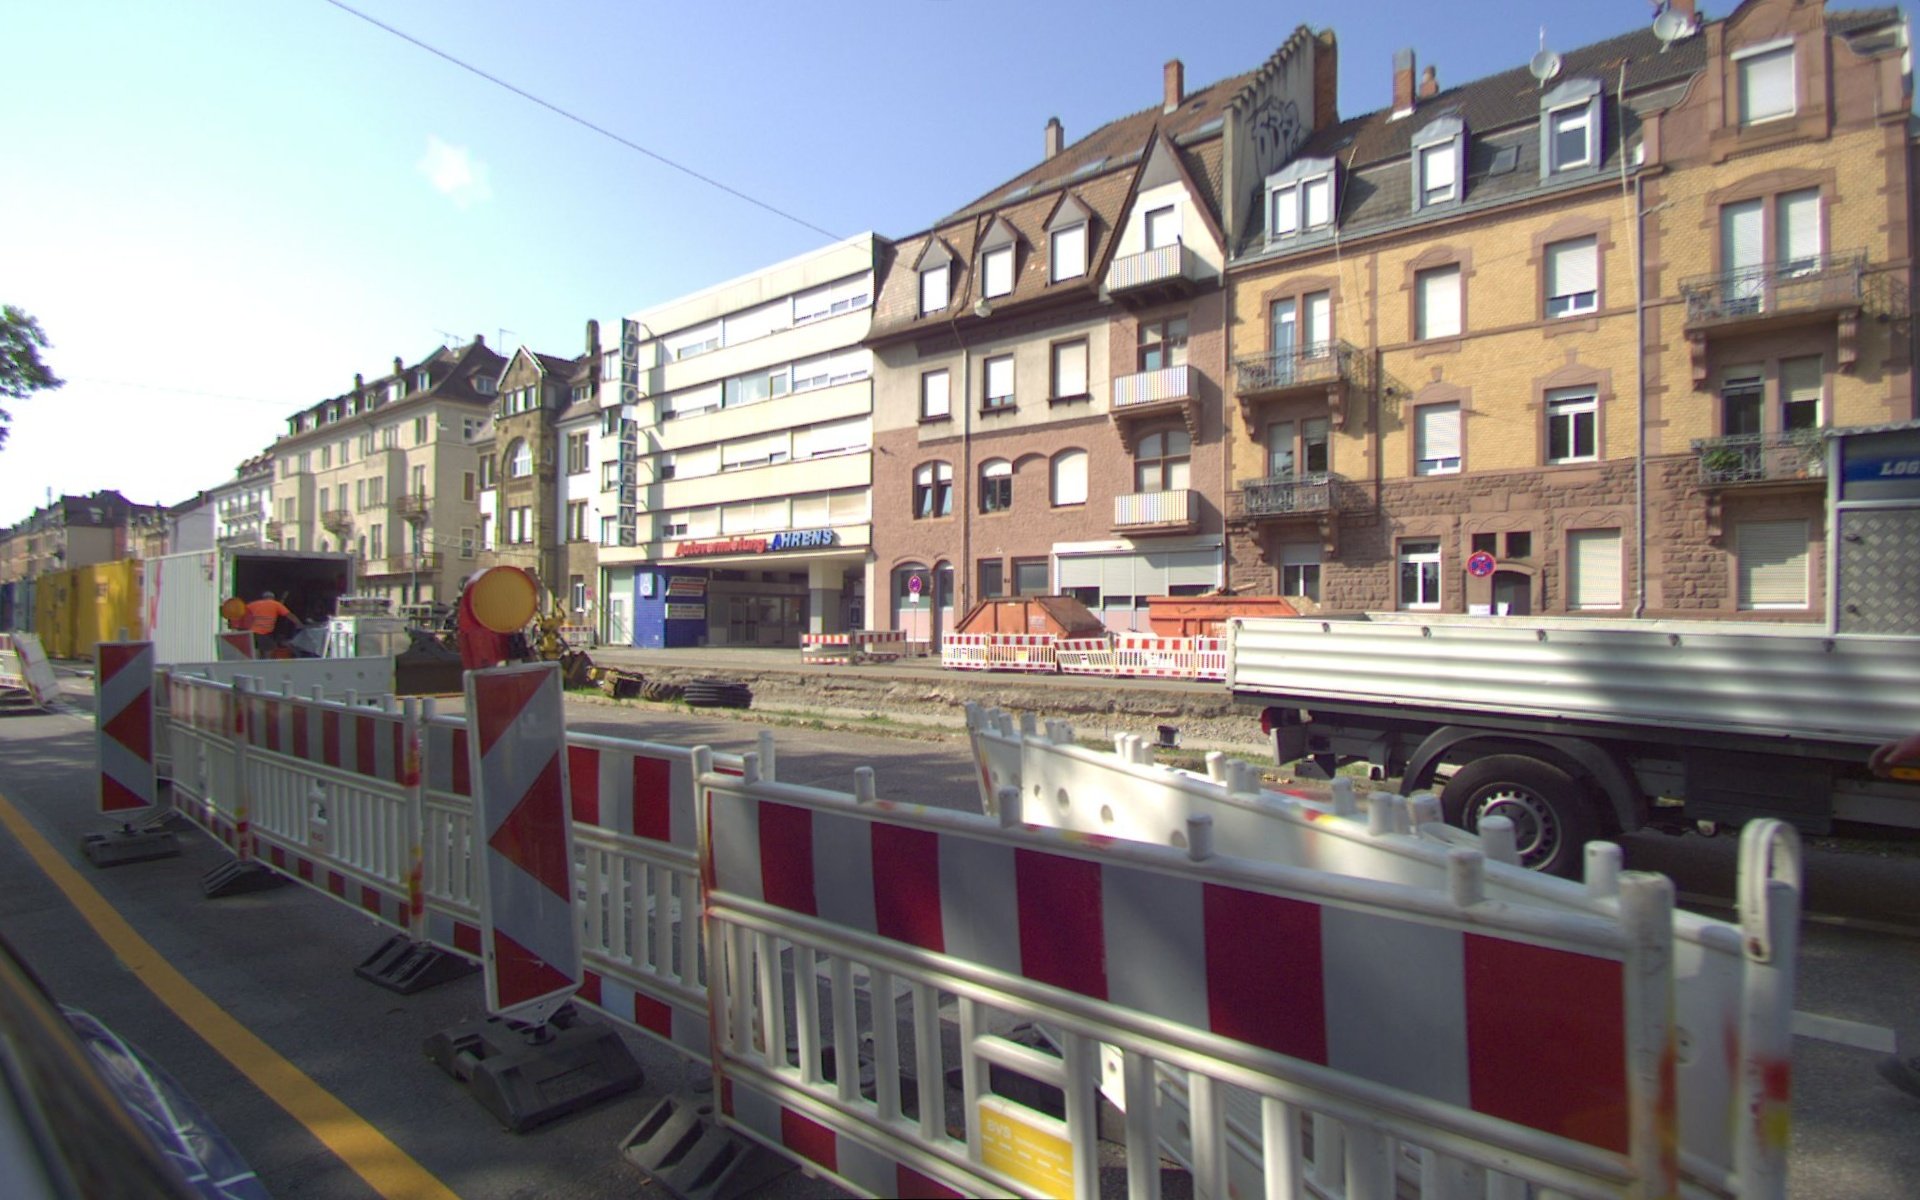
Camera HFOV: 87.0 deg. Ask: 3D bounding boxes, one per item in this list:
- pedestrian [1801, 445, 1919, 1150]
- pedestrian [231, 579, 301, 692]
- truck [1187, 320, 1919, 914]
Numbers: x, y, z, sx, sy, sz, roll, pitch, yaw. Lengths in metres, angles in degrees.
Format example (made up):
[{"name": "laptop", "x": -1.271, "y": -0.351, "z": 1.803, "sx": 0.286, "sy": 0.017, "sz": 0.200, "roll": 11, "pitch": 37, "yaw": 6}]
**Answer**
[{"name": "pedestrian", "x": 2.953, "y": 0.490, "z": 2.660, "sx": 1.094, "sy": 1.723, "sz": 1.021, "roll": -1, "pitch": -3, "yaw": 39}, {"name": "pedestrian", "x": -12.870, "y": 0.627, "z": 18.802, "sx": 0.896, "sy": 2.029, "sz": 0.915, "roll": 0, "pitch": 0, "yaw": -23}, {"name": "truck", "x": 4.635, "y": 0.085, "z": 4.329, "sx": 7.049, "sy": 2.239, "sz": 2.134, "roll": -1, "pitch": -3, "yaw": 43}]
